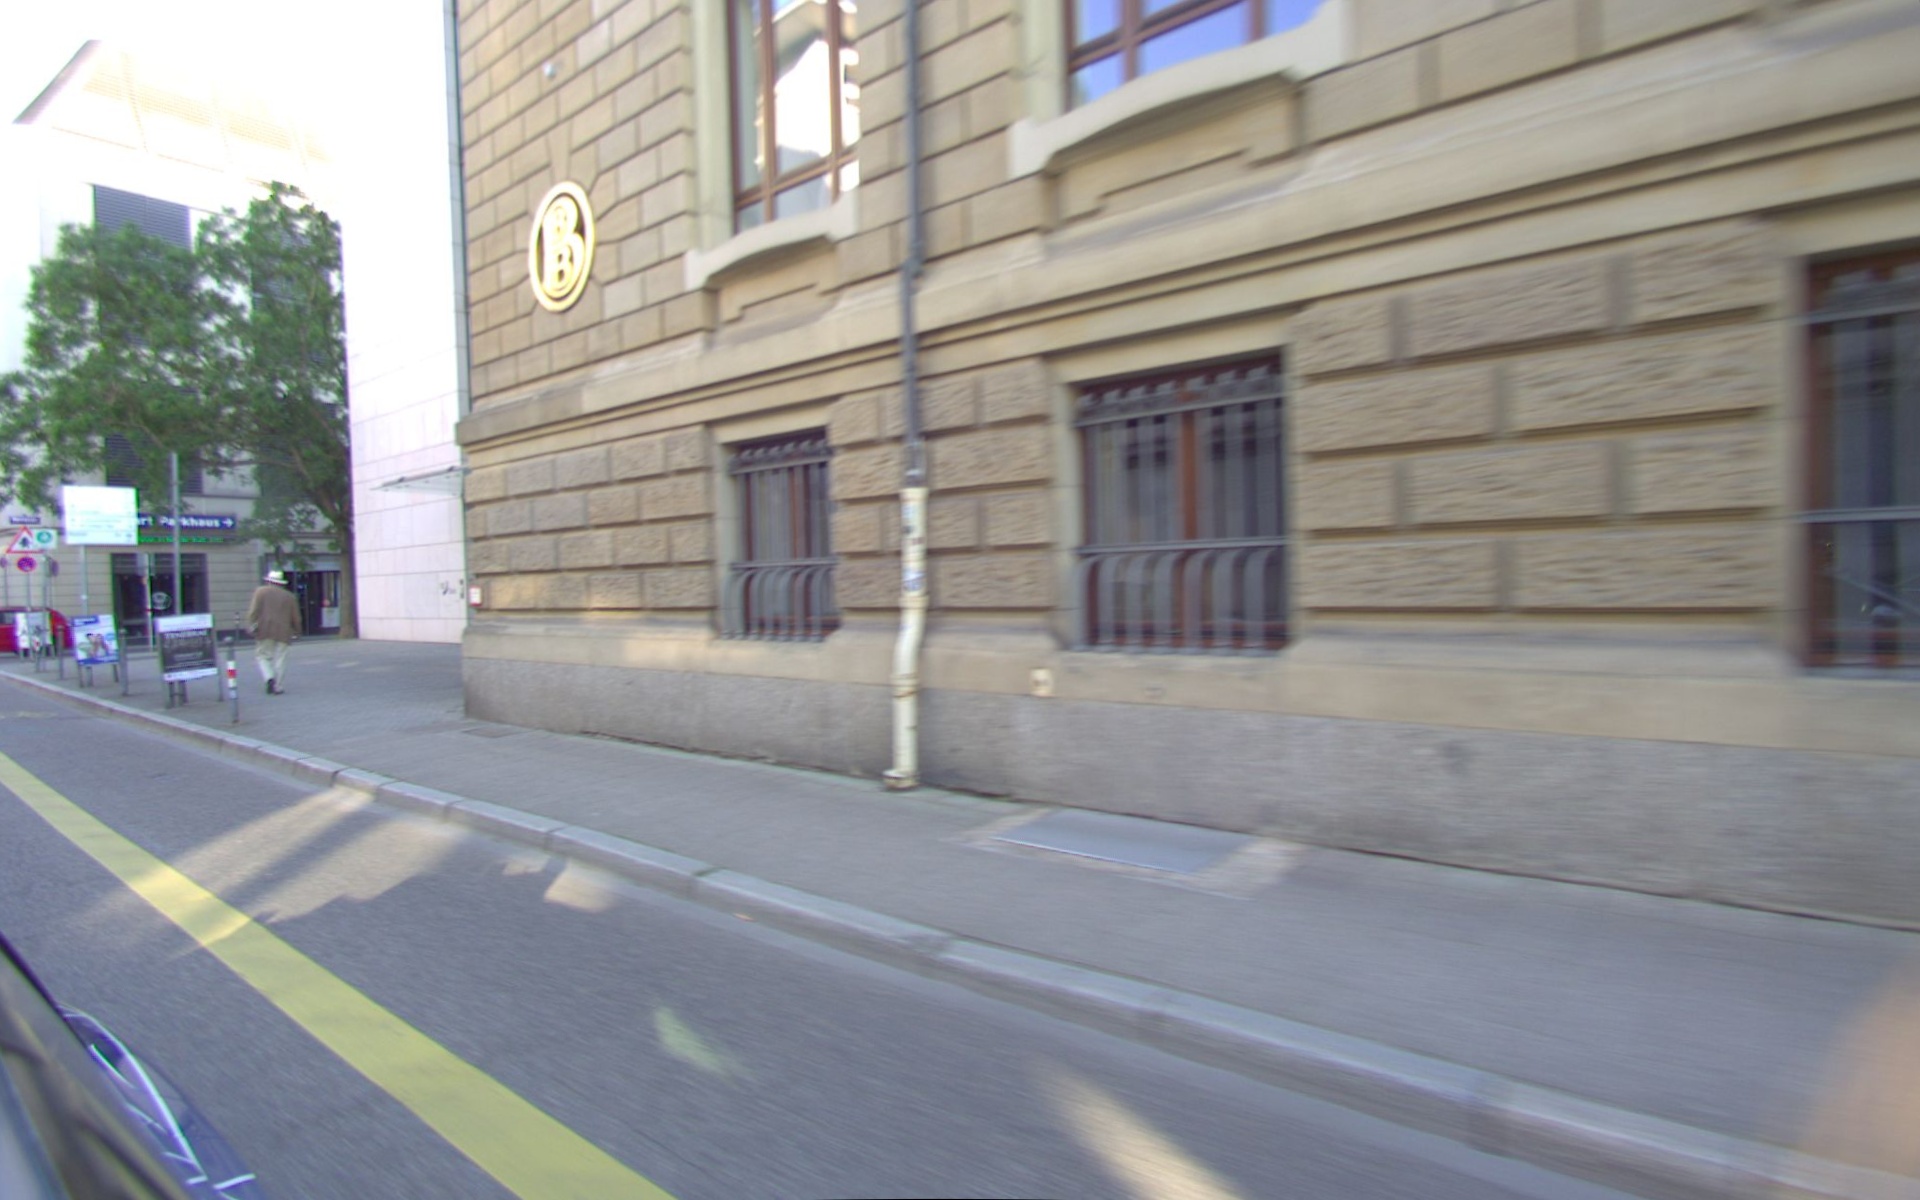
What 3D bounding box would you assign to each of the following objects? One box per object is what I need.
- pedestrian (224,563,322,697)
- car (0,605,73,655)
[{"bbox_3d":[-10.026,0.407,14.772,1.074,1.812,0.832,0,5,43],"label":"pedestrian"},{"bbox_3d":[-29.697,0.926,30.430,1.821,1.476,4.221,-1,0,29],"label":"car"}]
